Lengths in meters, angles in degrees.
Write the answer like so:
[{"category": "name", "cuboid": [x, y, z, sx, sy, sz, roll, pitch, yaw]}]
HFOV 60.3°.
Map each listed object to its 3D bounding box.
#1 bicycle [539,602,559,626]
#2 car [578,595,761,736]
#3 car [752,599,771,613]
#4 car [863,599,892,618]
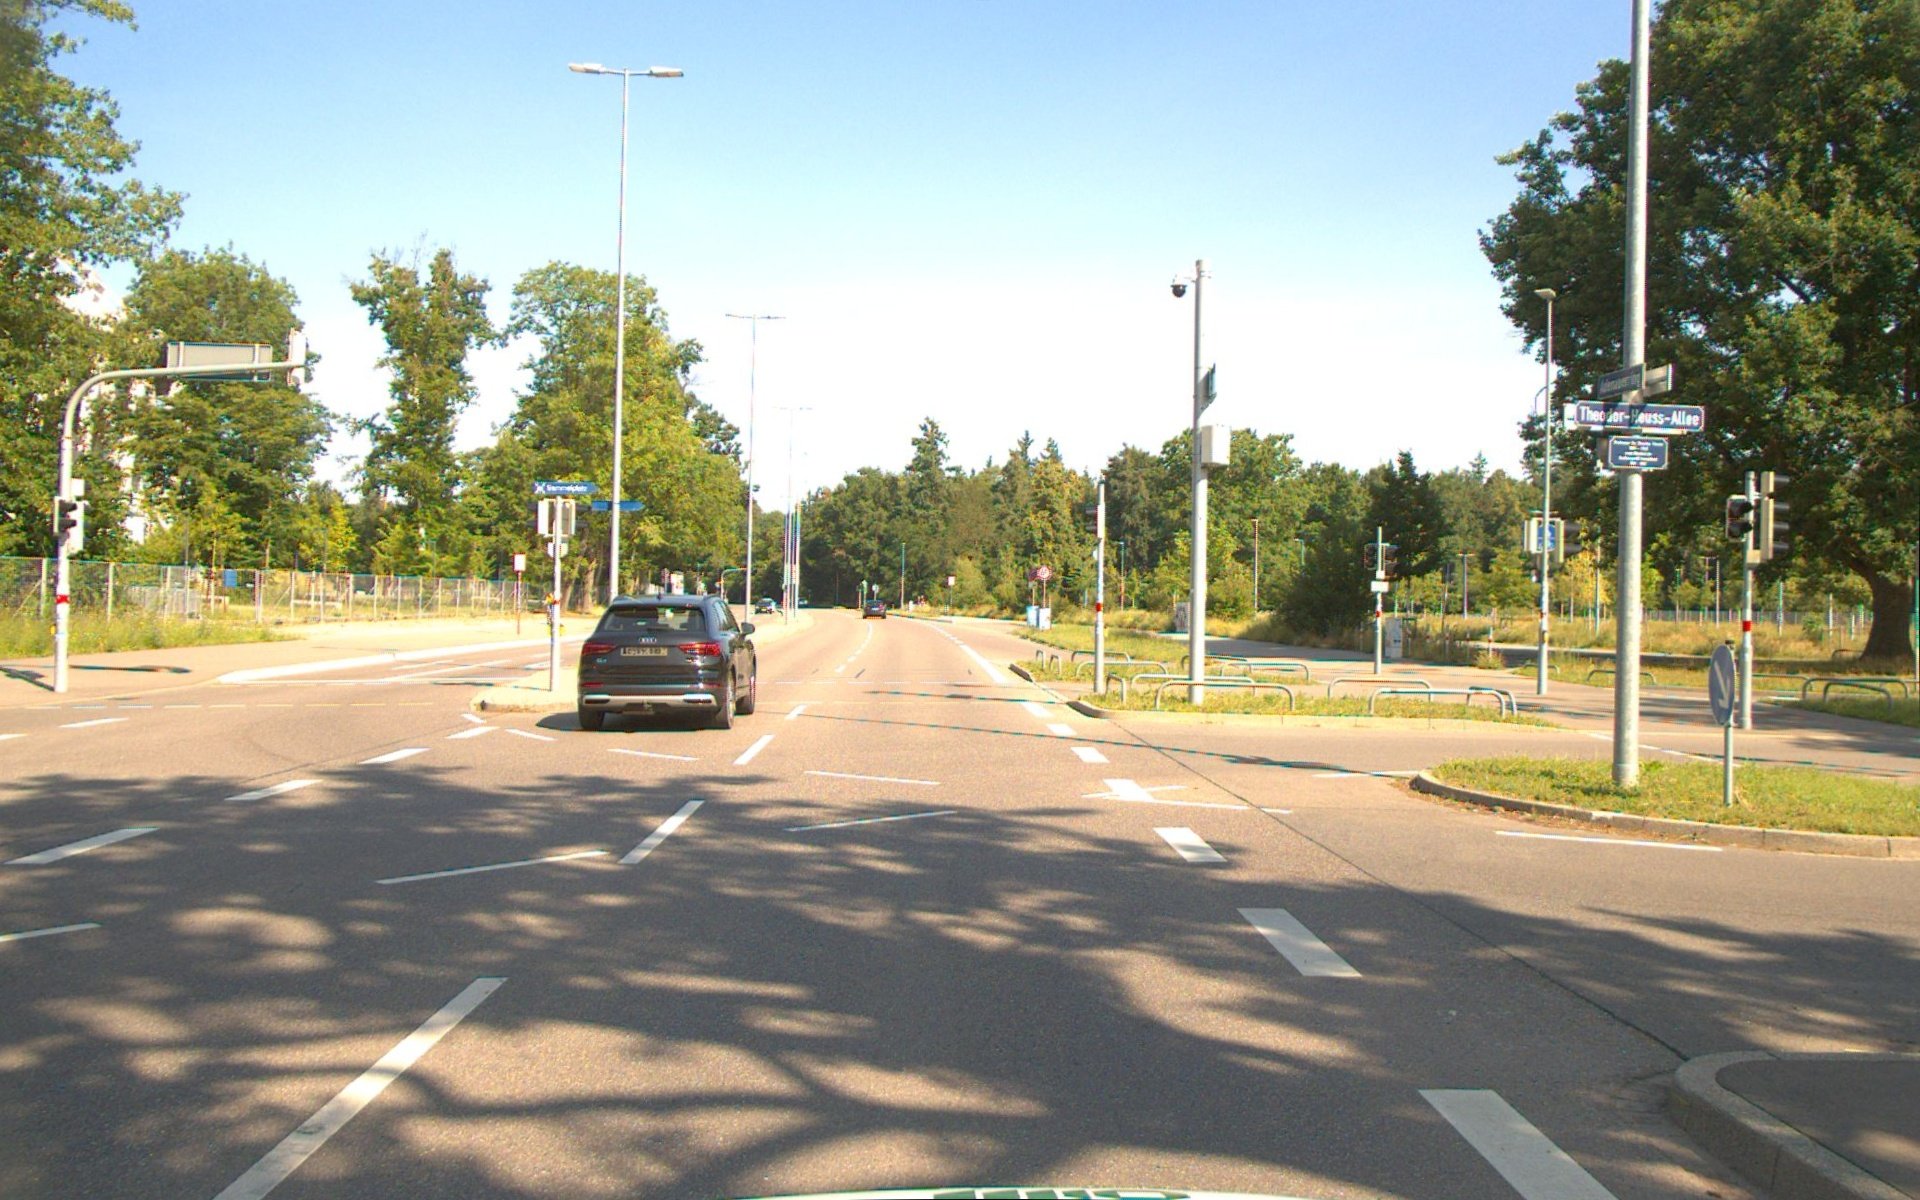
[{"category": "bicycle", "cuboid": [-20.871, 0.717, 84.023, 0.646, 1.155, 1.877, 2, 0, -3]}, {"category": "car", "cuboid": [-3.502, 0.725, 20.585, 1.653, 1.571, 4.147, 0, 0, -2]}, {"category": "car", "cuboid": [-20.605, 0.606, 171.308, 1.778, 1.412, 4.152, -1, 0, -9]}, {"category": "car", "cuboid": [-6.573, 0.693, 131.212, 1.904, 1.445, 4.286, 1, 0, -7]}]
